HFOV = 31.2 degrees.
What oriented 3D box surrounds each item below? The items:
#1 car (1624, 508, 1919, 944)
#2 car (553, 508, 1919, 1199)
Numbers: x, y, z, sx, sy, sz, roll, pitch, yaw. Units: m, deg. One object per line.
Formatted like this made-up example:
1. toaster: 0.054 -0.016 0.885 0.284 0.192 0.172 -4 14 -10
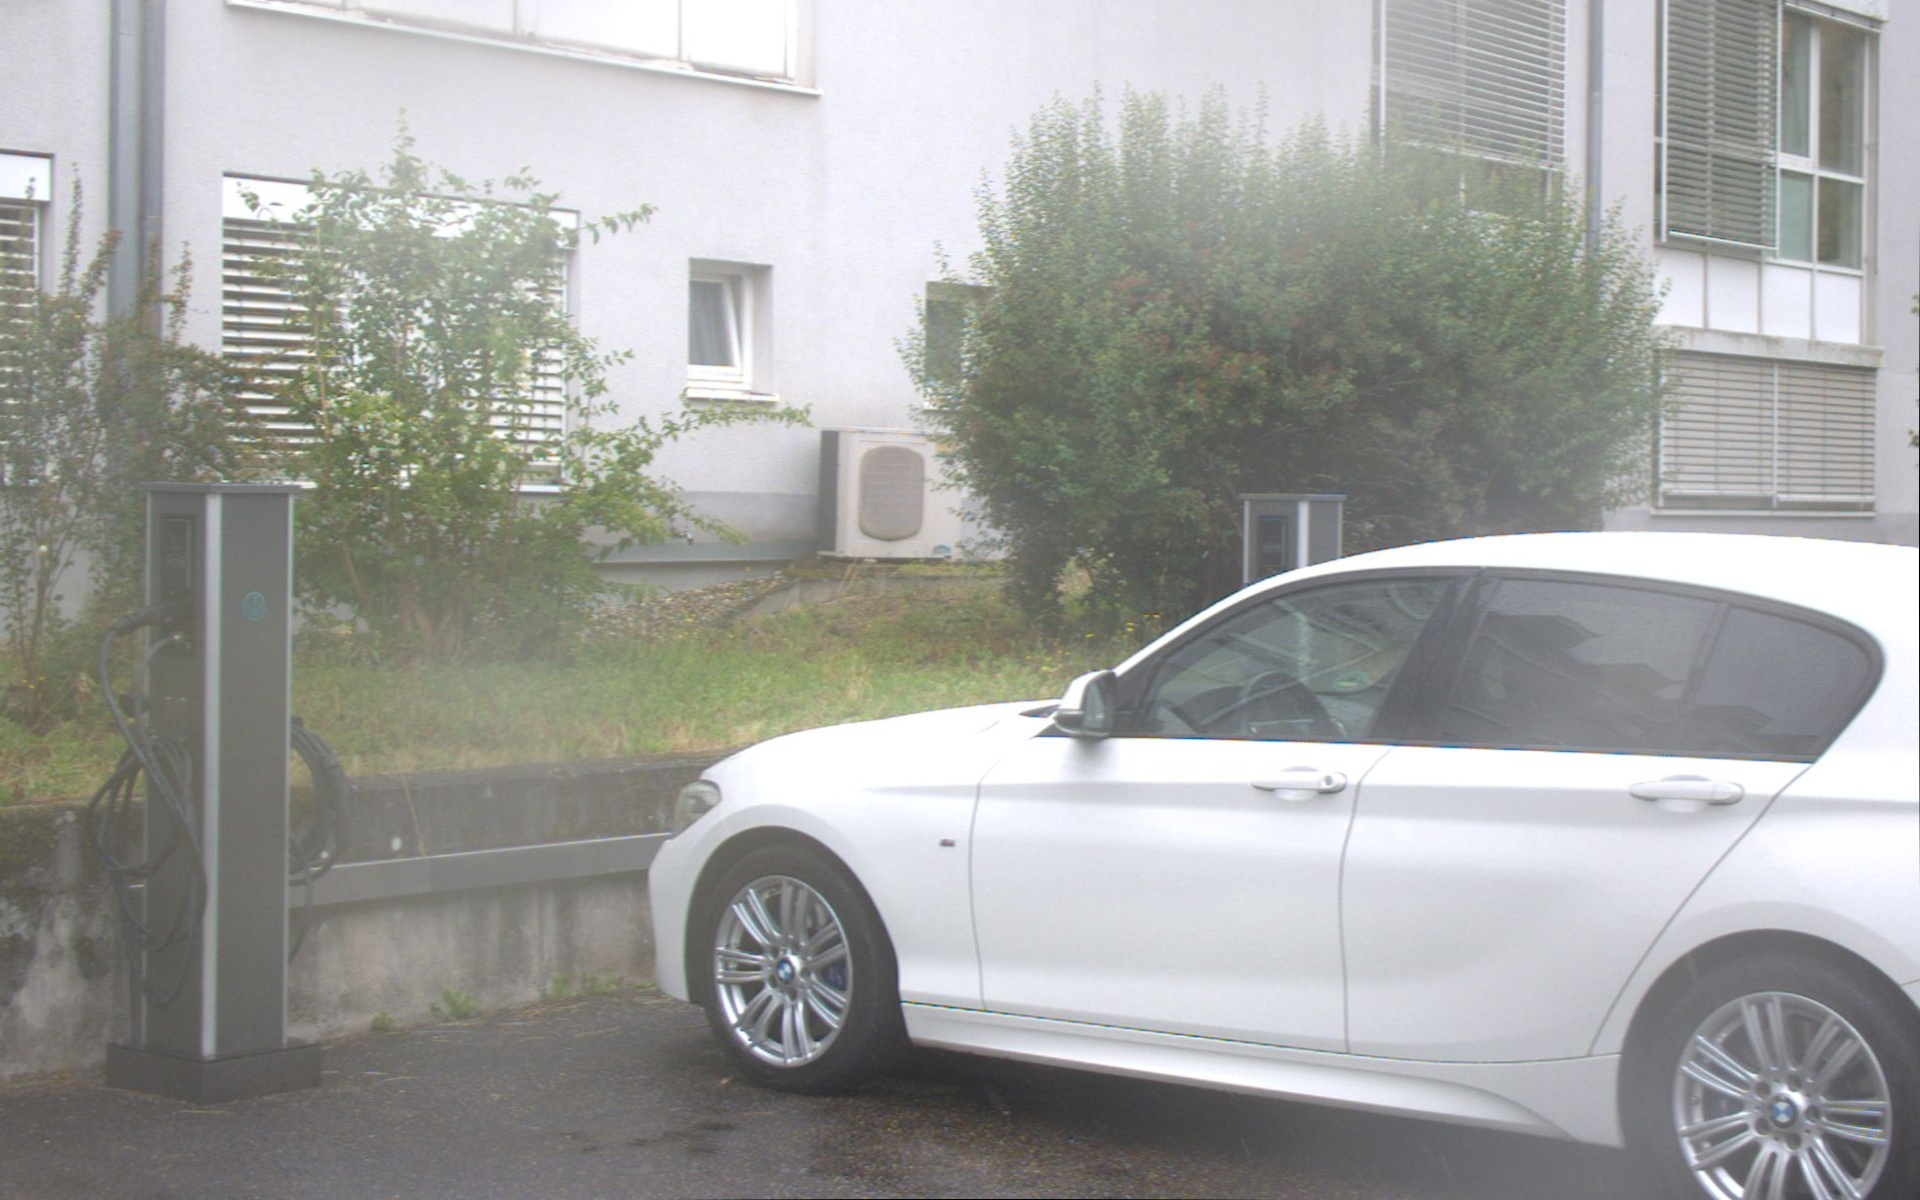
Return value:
1. car: 4.684 0.460 11.907 4.217 1.484 1.995 2 1 40
2. car: 1.227 0.559 8.187 4.217 1.484 1.995 2 1 40
